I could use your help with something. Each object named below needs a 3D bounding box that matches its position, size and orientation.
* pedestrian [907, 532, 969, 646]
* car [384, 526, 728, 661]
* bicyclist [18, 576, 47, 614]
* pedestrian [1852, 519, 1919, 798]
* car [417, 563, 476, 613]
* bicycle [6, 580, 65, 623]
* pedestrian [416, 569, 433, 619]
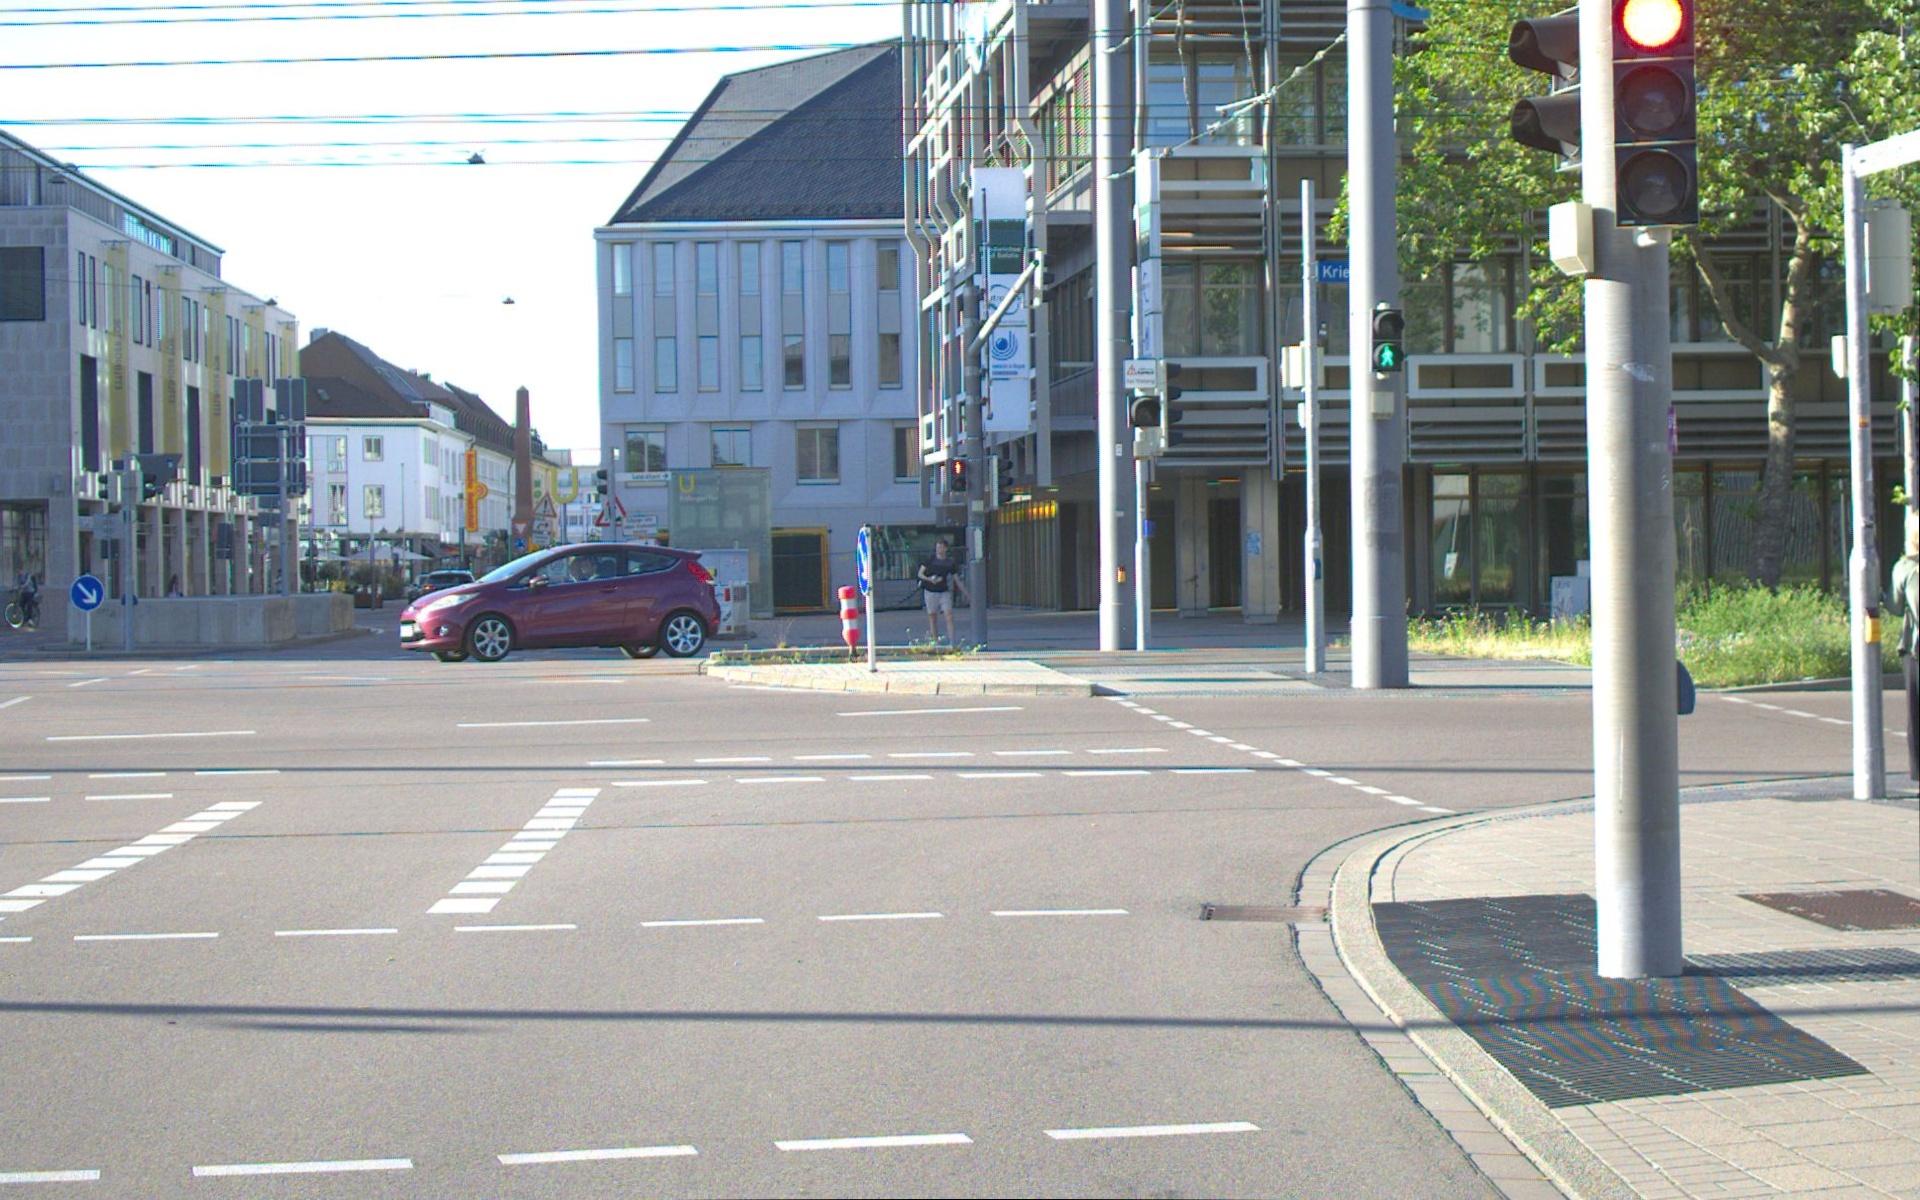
[{"bbox_3d":[-0.374,-0.187,57.633,0.788,1.883,0.644,1,0,-34],"label":"pedestrian"},{"bbox_3d":[-4.993,-0.098,42.531,3.884,1.579,1.660,-1,1,-24],"label":"car"},{"bbox_3d":[-26.787,-0.151,99.264,0.511,1.080,0.624,1,1,30],"label":"bicyclist"},{"bbox_3d":[5.337,0.314,18.679,0.788,1.487,0.644,1,0,-1],"label":"pedestrian"},{"bbox_3d":[-16.144,-0.386,108.209,1.737,1.525,3.856,1,1,-7],"label":"car"},{"bbox_3d":[-26.721,0.048,99.372,0.511,1.202,1.808,1,1,29],"label":"bicycle"},{"bbox_3d":[-18.271,-0.213,117.347,0.521,1.674,0.583,1,1,-7],"label":"pedestrian"}]
